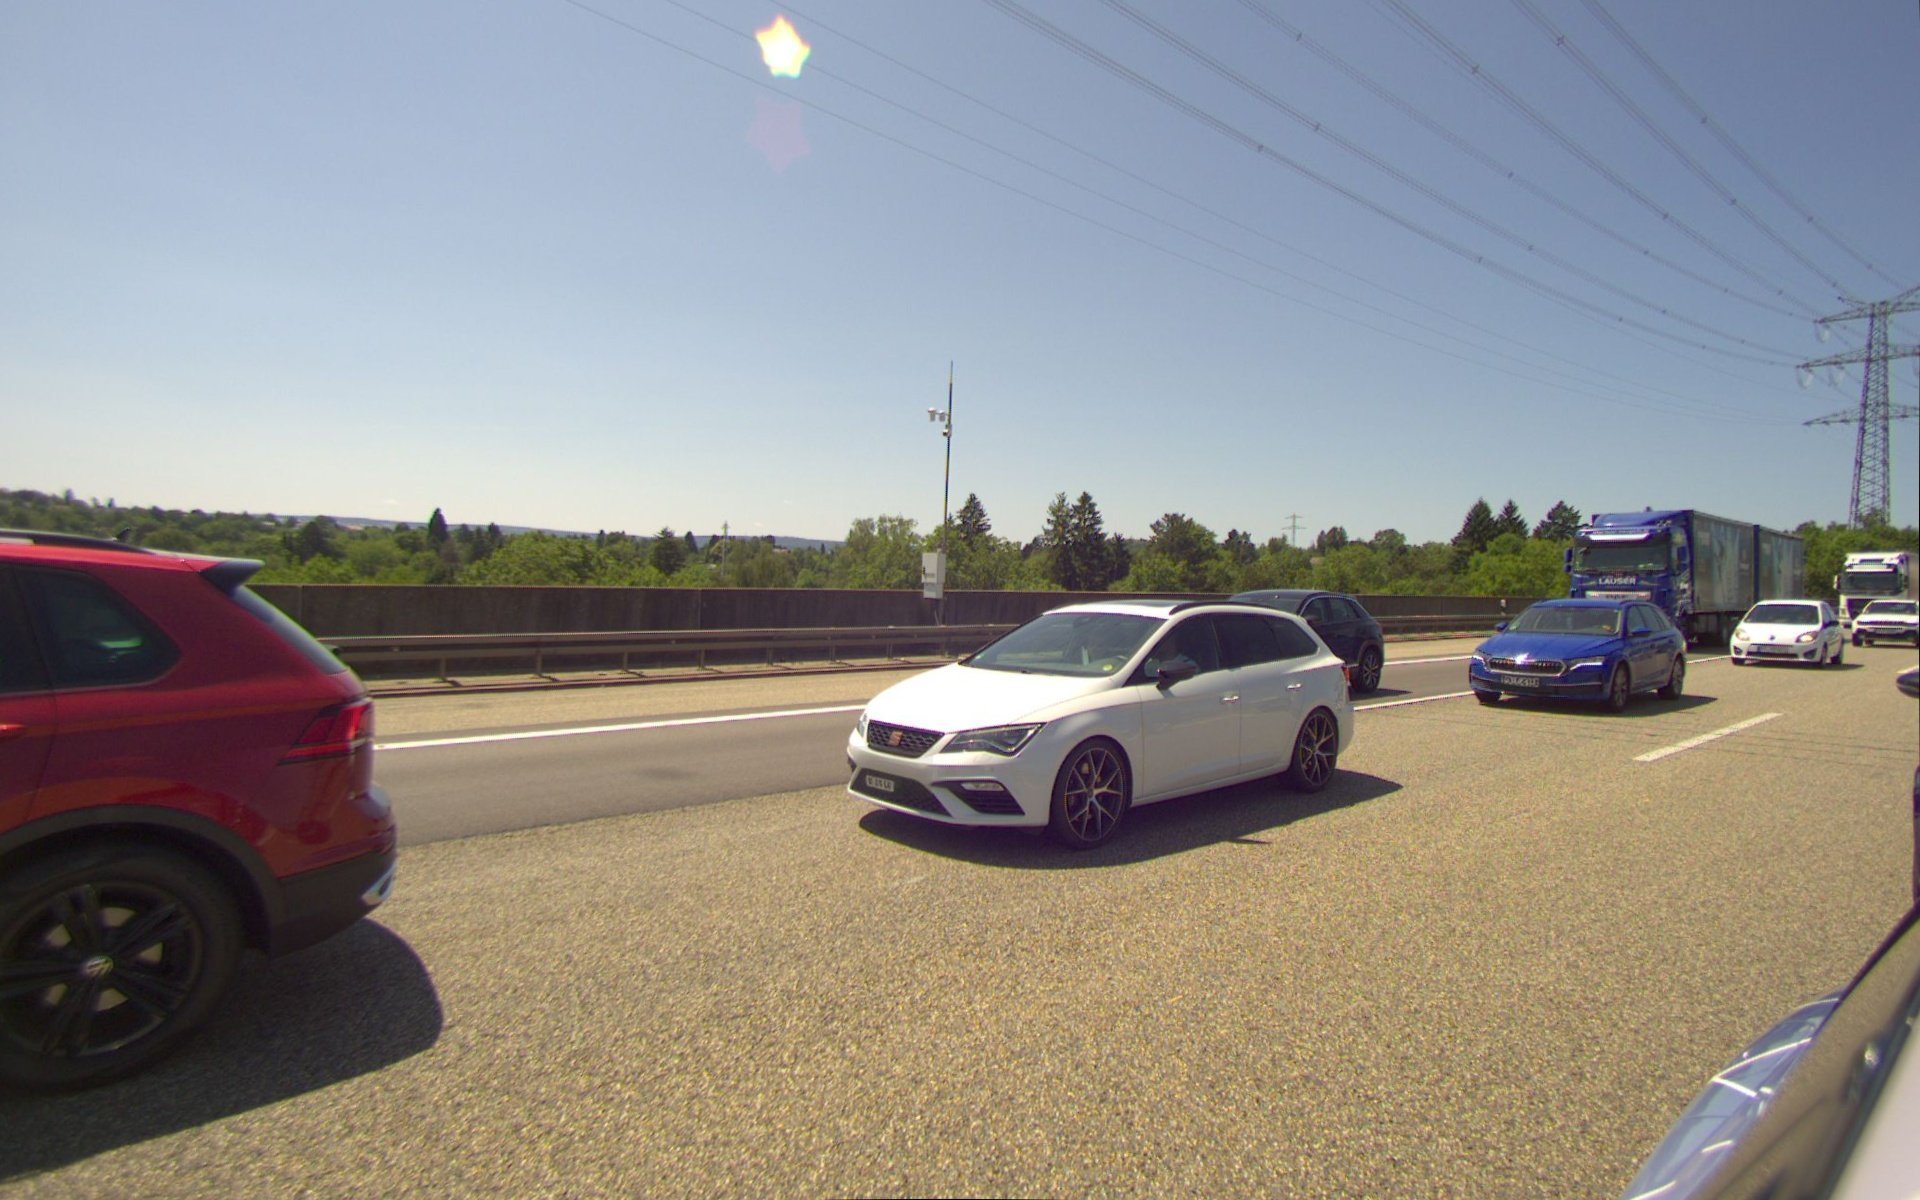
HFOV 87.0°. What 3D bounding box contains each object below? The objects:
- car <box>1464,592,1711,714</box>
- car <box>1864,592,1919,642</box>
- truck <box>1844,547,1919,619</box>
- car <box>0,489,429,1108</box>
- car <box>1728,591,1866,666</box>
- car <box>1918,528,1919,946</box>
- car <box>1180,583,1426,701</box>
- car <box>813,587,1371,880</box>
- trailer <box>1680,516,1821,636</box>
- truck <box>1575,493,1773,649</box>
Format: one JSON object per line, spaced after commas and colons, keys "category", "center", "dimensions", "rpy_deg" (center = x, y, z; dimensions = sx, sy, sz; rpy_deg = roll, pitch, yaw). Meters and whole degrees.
{"category": "car", "center": [8.946, 0.634, 14.300], "dimensions": [4.135, 1.463, 1.739], "rpy_deg": [0, 1, -40]}
{"category": "car", "center": [30.822, 0.532, 32.850], "dimensions": [4.024, 1.522, 1.761], "rpy_deg": [0, 1, -42]}
{"category": "truck", "center": [51.503, -0.906, 55.590], "dimensions": [10.776, 3.604, 2.983], "rpy_deg": [0, 0, -41]}
{"category": "car", "center": [-3.949, 0.526, 2.752], "dimensions": [4.151, 1.683, 1.778], "rpy_deg": [0, 1, -41]}
{"category": "car", "center": [19.080, 0.591, 23.013], "dimensions": [4.022, 1.522, 1.762], "rpy_deg": [0, 1, -41]}
{"category": "car", "center": [5.895, 0.545, 4.714], "dimensions": [3.931, 1.683, 1.738], "rpy_deg": [0, 0, -41]}
{"category": "car", "center": [5.264, 0.539, 15.287], "dimensions": [4.034, 1.546, 1.739], "rpy_deg": [0, 0, -41]}
{"category": "car", "center": [1.132, 0.672, 7.250], "dimensions": [4.003, 1.508, 1.841], "rpy_deg": [0, 0, -42]}
{"category": "trailer", "center": [29.139, -0.771, 37.146], "dimensions": [8.330, 3.995, 2.570], "rpy_deg": [1, 0, -41]}
{"category": "truck", "center": [22.121, -0.813, 31.042], "dimensions": [10.263, 4.118, 2.527], "rpy_deg": [0, 0, -41]}
